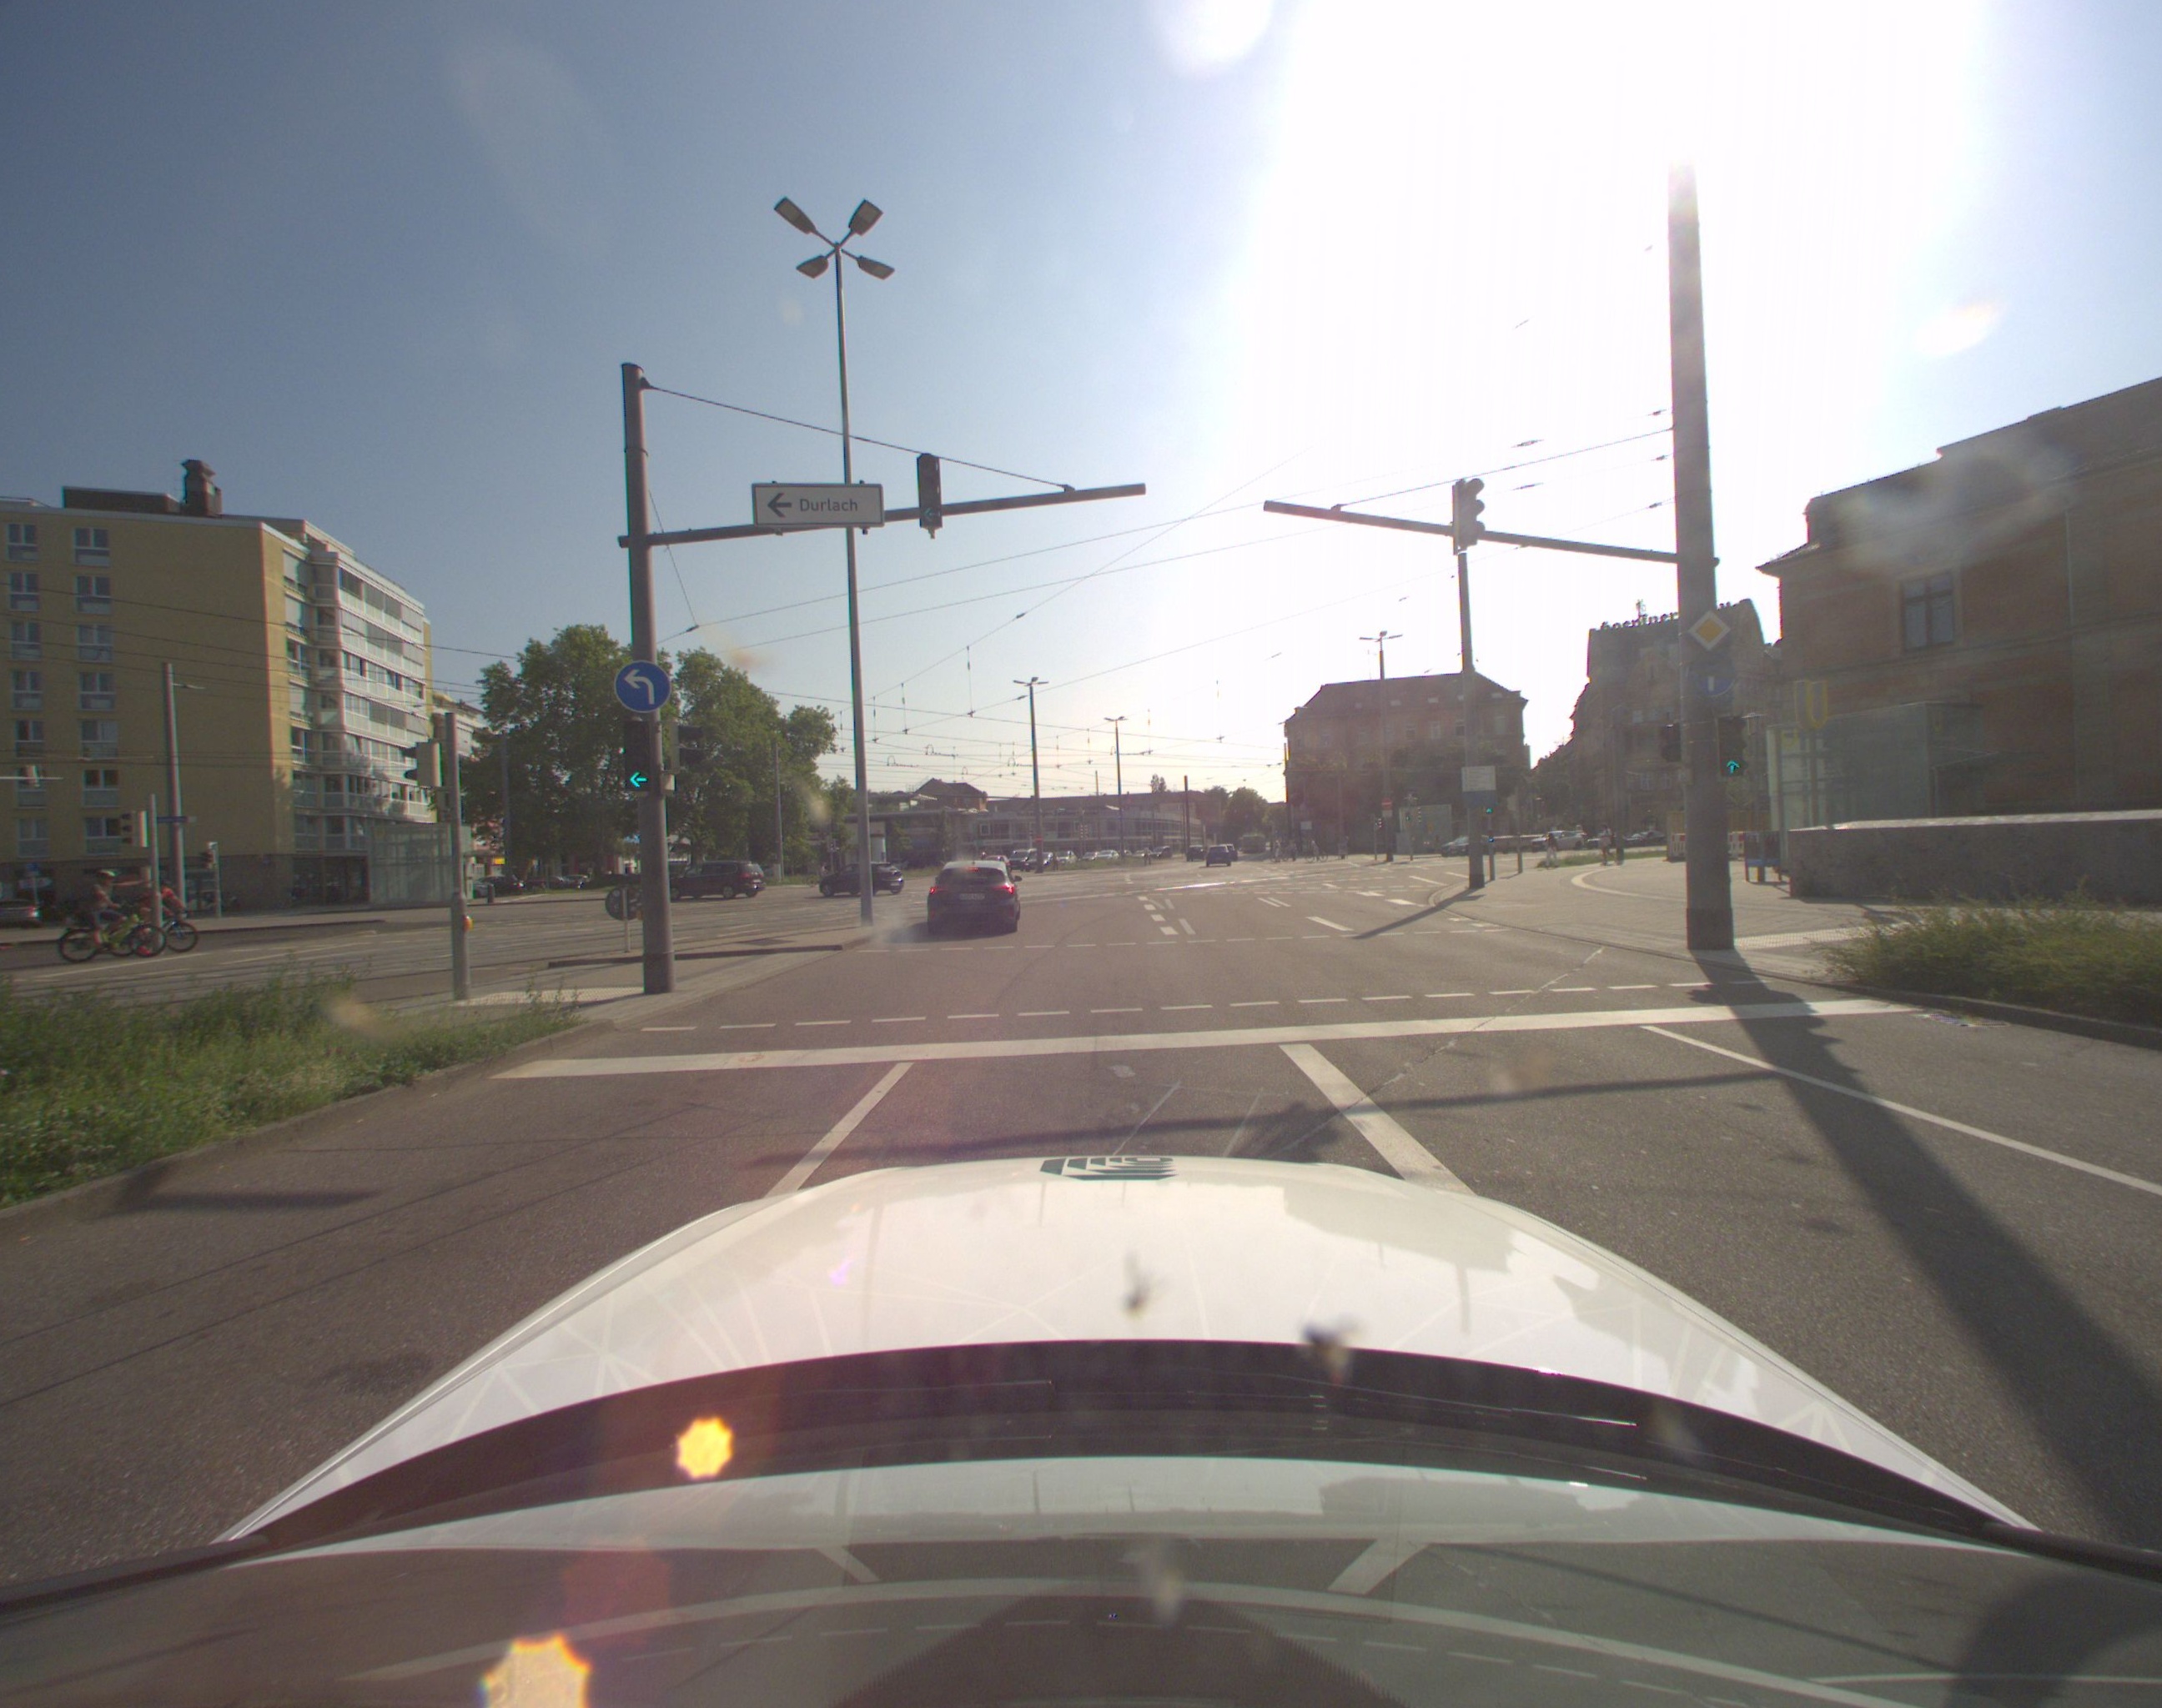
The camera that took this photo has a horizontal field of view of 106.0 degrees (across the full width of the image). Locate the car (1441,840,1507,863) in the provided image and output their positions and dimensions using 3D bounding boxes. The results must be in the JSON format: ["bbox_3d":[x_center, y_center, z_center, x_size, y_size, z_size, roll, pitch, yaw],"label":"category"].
[{"bbox_3d":[27.534,-0.167,57.026,4.400,1.397,2.005,-2,0,-29],"label":"car"}]

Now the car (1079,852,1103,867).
[{"bbox_3d":[1.113,0.550,89.655,1.602,1.475,4.017,-4,-1,15],"label":"car"}]

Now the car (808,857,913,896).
[{"bbox_3d":[-9.598,0.972,35.327,4.317,1.491,1.698,-3,0,27],"label":"car"}]

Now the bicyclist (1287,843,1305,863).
[{"bbox_3d":[18.193,-0.098,69.017,0.938,1.680,1.084,-2,0,-25],"label":"bicyclist"}]

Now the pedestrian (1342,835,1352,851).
[{"bbox_3d":[23.993,-0.982,73.490,0.540,1.471,0.672,-3,0,45],"label":"pedestrian"}]

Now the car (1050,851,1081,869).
[{"bbox_3d":[-1.368,0.505,72.331,1.602,1.475,4.016,-4,-1,14],"label":"car"}]

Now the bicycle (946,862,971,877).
[{"bbox_3d":[-9.552,1.208,63.594,0.950,1.057,2.619,-2,0,15],"label":"bicycle"}]

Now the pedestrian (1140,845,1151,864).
[{"bbox_3d":[5.278,0.048,66.956,0.772,1.503,0.712,-2,0,10],"label":"pedestrian"}]

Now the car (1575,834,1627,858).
[{"bbox_3d":[44.034,-0.701,68.928,4.262,1.859,1.892,-2,0,-29],"label":"car"}]

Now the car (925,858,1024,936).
[{"bbox_3d":[-2.305,0.834,17.920,1.830,1.435,4.539,-2,0,-7],"label":"car"}]

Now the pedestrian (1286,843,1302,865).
[{"bbox_3d":[17.373,0.000,66.463,0.933,1.797,0.849,-2,0,-42],"label":"pedestrian"}]

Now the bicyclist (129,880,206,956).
[{"bbox_3d":[-21.084,1.466,18.818,0.882,1.652,0.723,-2,0,-12],"label":"bicyclist"}]

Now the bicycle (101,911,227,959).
[{"bbox_3d":[-21.129,1.863,18.800,1.814,0.932,0.723,-2,0,-13],"label":"bicycle"}]

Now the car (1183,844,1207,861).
[{"bbox_3d":[11.603,-0.194,82.660,1.812,1.535,4.431,-3,0,15],"label":"car"}]

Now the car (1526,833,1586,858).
[{"bbox_3d":[38.289,-0.659,65.656,4.677,1.859,2.026,-2,0,-29],"label":"car"}]

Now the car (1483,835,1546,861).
[{"bbox_3d":[33.853,-0.495,63.588,4.720,1.859,1.893,-2,0,-27],"label":"car"}]

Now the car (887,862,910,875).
[{"bbox_3d":[-22.846,1.835,102.308,1.692,1.522,4.103,-2,0,4],"label":"car"}]

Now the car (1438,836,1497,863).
[{"bbox_3d":[29.139,-0.354,61.383,4.262,1.859,1.892,-2,0,-29],"label":"car"}]

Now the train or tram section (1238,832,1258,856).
[{"bbox_3d":[28.100,-1.692,136.477,2.635,3.699,10.631,-3,0,15],"label":"train or tram section"}]

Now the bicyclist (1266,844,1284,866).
[{"bbox_3d":[16.069,0.086,67.475,0.938,1.799,1.084,-2,0,-25],"label":"bicyclist"}]

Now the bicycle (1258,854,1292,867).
[{"bbox_3d":[16.099,0.507,67.485,2.631,0.964,1.084,-2,0,-25],"label":"bicycle"}]

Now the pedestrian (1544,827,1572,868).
[{"bbox_3d":[20.595,-0.282,35.151,0.910,1.690,0.843,-2,0,36],"label":"pedestrian"}]

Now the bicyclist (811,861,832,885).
[{"bbox_3d":[-17.251,1.263,54.185,1.164,1.527,0.956,-3,0,-15],"label":"bicyclist"}]

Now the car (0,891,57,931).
[{"bbox_3d":[-49.724,2.654,37.717,4.492,1.678,2.012,-2,0,28],"label":"car"}]

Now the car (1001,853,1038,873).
[{"bbox_3d":[-5.337,0.757,71.026,1.946,1.475,4.016,-4,-1,14],"label":"car"}]

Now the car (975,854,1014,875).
[{"bbox_3d":[-6.755,0.799,63.925,1.602,1.475,4.016,-4,-1,14],"label":"car"}]

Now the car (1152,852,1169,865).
[{"bbox_3d":[10.774,0.593,110.343,1.602,1.475,4.017,-4,-1,15],"label":"car"}]

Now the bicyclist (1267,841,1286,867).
[{"bbox_3d":[15.672,-0.019,65.177,0.941,2.024,1.080,-2,0,-38],"label":"bicyclist"}]

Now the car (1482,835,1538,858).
[{"bbox_3d":[37.285,-0.653,70.858,4.274,1.859,1.919,-2,0,-20],"label":"car"}]

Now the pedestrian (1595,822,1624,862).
[{"bbox_3d":[22.654,-0.519,34.897,0.910,1.690,0.931,-2,0,39],"label":"pedestrian"}]

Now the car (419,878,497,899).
[{"bbox_3d":[-45.451,2.502,59.481,4.170,1.354,1.567,-2,0,-20],"label":"car"}]

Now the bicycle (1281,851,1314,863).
[{"bbox_3d":[18.381,0.262,69.106,2.631,0.964,1.084,-2,0,-25],"label":"bicycle"}]

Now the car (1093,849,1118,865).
[{"bbox_3d":[2.626,0.307,85.844,1.602,1.475,4.017,-4,-1,15],"label":"car"}]

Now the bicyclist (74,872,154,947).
[{"bbox_3d":[-20.877,1.171,17.599,0.795,1.527,0.723,-2,0,-12],"label":"bicyclist"}]

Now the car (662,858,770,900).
[{"bbox_3d":[-16.876,1.167,37.700,4.362,1.714,1.840,-3,0,18],"label":"car"}]

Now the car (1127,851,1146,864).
[{"bbox_3d":[7.100,0.454,103.654,1.602,1.475,4.017,-4,-1,15],"label":"car"}]

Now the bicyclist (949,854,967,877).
[{"bbox_3d":[-9.587,0.877,63.505,0.950,1.748,1.171,-2,0,15],"label":"bicyclist"}]

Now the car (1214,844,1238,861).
[{"bbox_3d":[13.573,-0.125,76.015,1.812,1.428,4.429,-3,0,14],"label":"car"}]

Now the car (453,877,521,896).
[{"bbox_3d":[-48.459,2.615,66.477,4.170,1.354,1.567,-2,0,-20],"label":"car"}]

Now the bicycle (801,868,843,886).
[{"bbox_3d":[-17.210,1.510,54.178,2.604,1.057,0.956,-3,0,-15],"label":"bicycle"}]

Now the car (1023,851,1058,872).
[{"bbox_3d":[-3.250,0.582,66.054,1.602,1.475,4.016,-4,-1,14],"label":"car"}]

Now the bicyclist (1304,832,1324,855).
[{"bbox_3d":[18.096,-0.836,63.322,0.941,1.708,1.080,-2,0,-38],"label":"bicyclist"}]

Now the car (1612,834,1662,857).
[{"bbox_3d":[48.769,-0.783,71.411,4.262,1.859,1.892,-2,0,-29],"label":"car"}]

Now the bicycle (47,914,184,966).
[{"bbox_3d":[-20.825,1.835,17.602,1.814,0.932,0.723,-2,0,-13],"label":"bicycle"}]

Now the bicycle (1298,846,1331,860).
[{"bbox_3d":[18.193,-0.076,63.378,2.640,0.964,1.081,-2,0,-38],"label":"bicycle"}]

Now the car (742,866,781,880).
[{"bbox_3d":[-40.461,2.376,103.272,1.683,1.522,4.543,-2,0,31],"label":"car"}]

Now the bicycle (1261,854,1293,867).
[{"bbox_3d":[15.731,0.523,65.201,2.640,0.964,1.081,-2,0,-38],"label":"bicycle"}]

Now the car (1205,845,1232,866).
[{"bbox_3d":[10.152,0.091,59.822,1.814,1.428,4.425,-3,0,10],"label":"car"}]
